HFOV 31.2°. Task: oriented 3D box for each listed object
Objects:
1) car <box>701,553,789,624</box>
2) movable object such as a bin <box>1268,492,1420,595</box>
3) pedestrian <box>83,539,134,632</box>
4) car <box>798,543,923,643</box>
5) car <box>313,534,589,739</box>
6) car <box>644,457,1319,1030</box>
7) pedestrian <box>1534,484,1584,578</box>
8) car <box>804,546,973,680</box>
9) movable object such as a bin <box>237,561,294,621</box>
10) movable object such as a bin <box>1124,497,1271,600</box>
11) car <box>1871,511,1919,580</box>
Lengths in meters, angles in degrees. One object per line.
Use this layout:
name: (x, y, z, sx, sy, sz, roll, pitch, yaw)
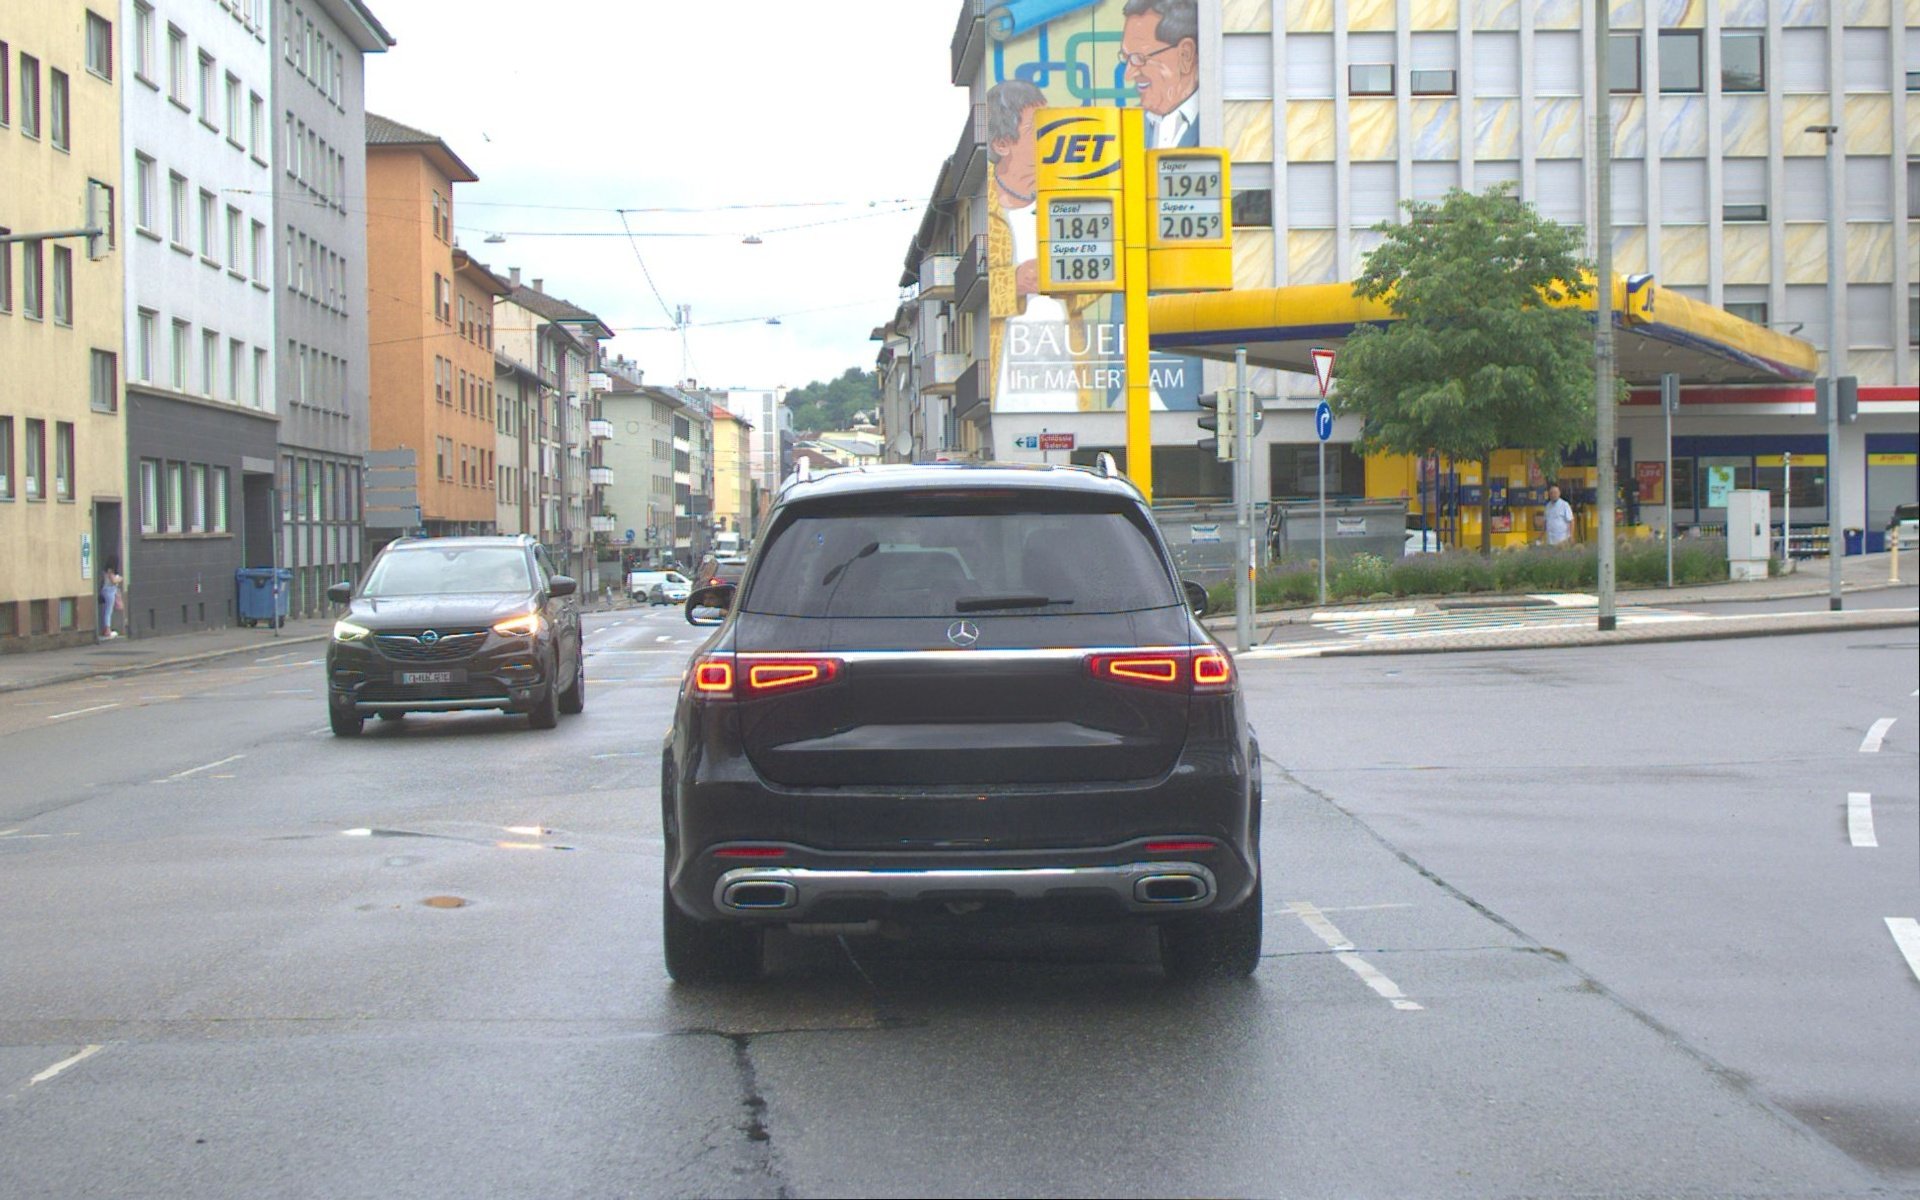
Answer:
car: (-5.190, -0.311, 83.446, 2.076, 1.644, 4.296, 1, 1, -3)
movable object such as a bin: (6.179, -0.912, 55.467, 2.155, 1.550, 1.773, -2, 1, -2)
pedestrian: (-15.692, -0.266, 63.372, 0.717, 1.684, 0.811, 1, 0, -1)
car: (-1.769, -0.148, 59.865, 2.076, 1.644, 4.296, 1, 1, -3)
car: (-4.251, 0.258, 29.284, 1.808, 1.589, 4.295, -1, 1, -2)
car: (-0.042, 0.416, 12.982, 2.076, 1.759, 4.611, 1, 1, -3)
pedestrian: (10.106, -1.160, 58.005, 0.664, 1.579, 0.847, 1, 0, 0)
car: (-0.986, 0.133, 44.943, 2.076, 1.644, 4.296, 1, 1, -3)
movable object such as a bin: (-15.773, -0.209, 78.124, 1.076, 1.320, 1.191, 1, 0, -2)
movable object such as a bin: (3.816, -0.826, 55.393, 2.155, 1.569, 1.773, -1, 1, -2)
car: (22.663, -1.243, 78.858, 1.997, 1.511, 4.409, -2, -1, 35)
